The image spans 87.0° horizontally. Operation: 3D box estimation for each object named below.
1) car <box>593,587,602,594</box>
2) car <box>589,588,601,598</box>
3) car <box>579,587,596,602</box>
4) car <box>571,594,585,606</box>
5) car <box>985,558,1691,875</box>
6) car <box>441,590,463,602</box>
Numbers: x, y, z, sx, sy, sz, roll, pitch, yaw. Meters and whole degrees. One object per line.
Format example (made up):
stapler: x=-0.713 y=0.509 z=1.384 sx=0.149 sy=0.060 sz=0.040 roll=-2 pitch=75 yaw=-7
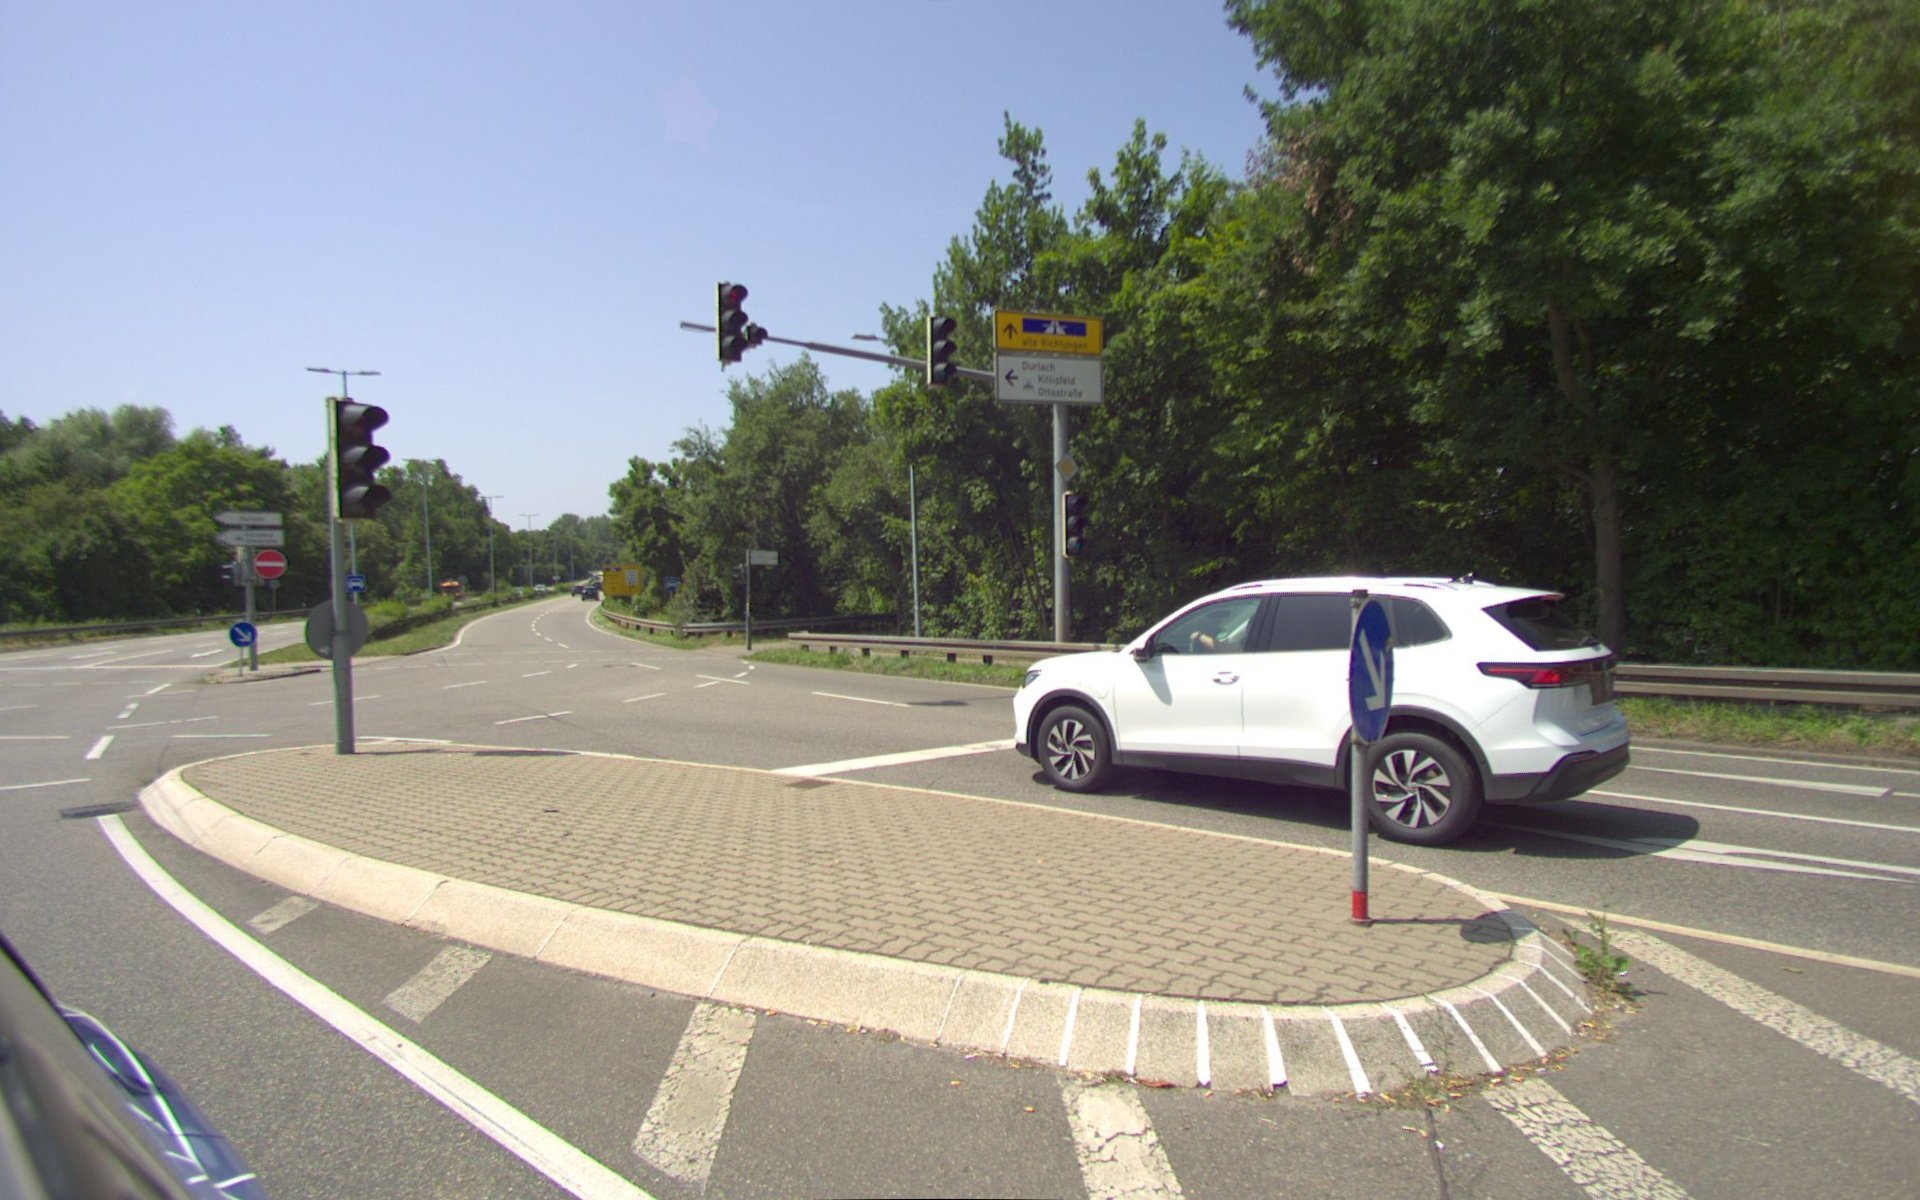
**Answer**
car: x=-76.522 y=-1.970 z=213.646 sx=1.562 sy=1.497 sz=3.560 roll=-2 pitch=1 yaw=-16
car: x=-64.458 y=-1.290 z=178.846 sx=1.796 sy=1.666 sz=3.823 roll=-2 pitch=1 yaw=-16
car: x=-43.965 y=-0.642 z=119.476 sx=1.683 sy=1.638 sz=4.013 roll=-2 pitch=1 yaw=-23
car: x=-54.010 y=0.008 z=143.095 sx=1.710 sy=1.701 sz=3.836 roll=-2 pitch=1 yaw=-19
car: x=2.474 y=0.622 z=7.524 sx=4.580 sy=1.651 sz=1.807 roll=-1 pitch=0 yaw=44
car: x=-65.214 y=-0.483 z=129.950 sx=1.816 sy=1.441 sz=3.588 roll=-2 pitch=1 yaw=-16
